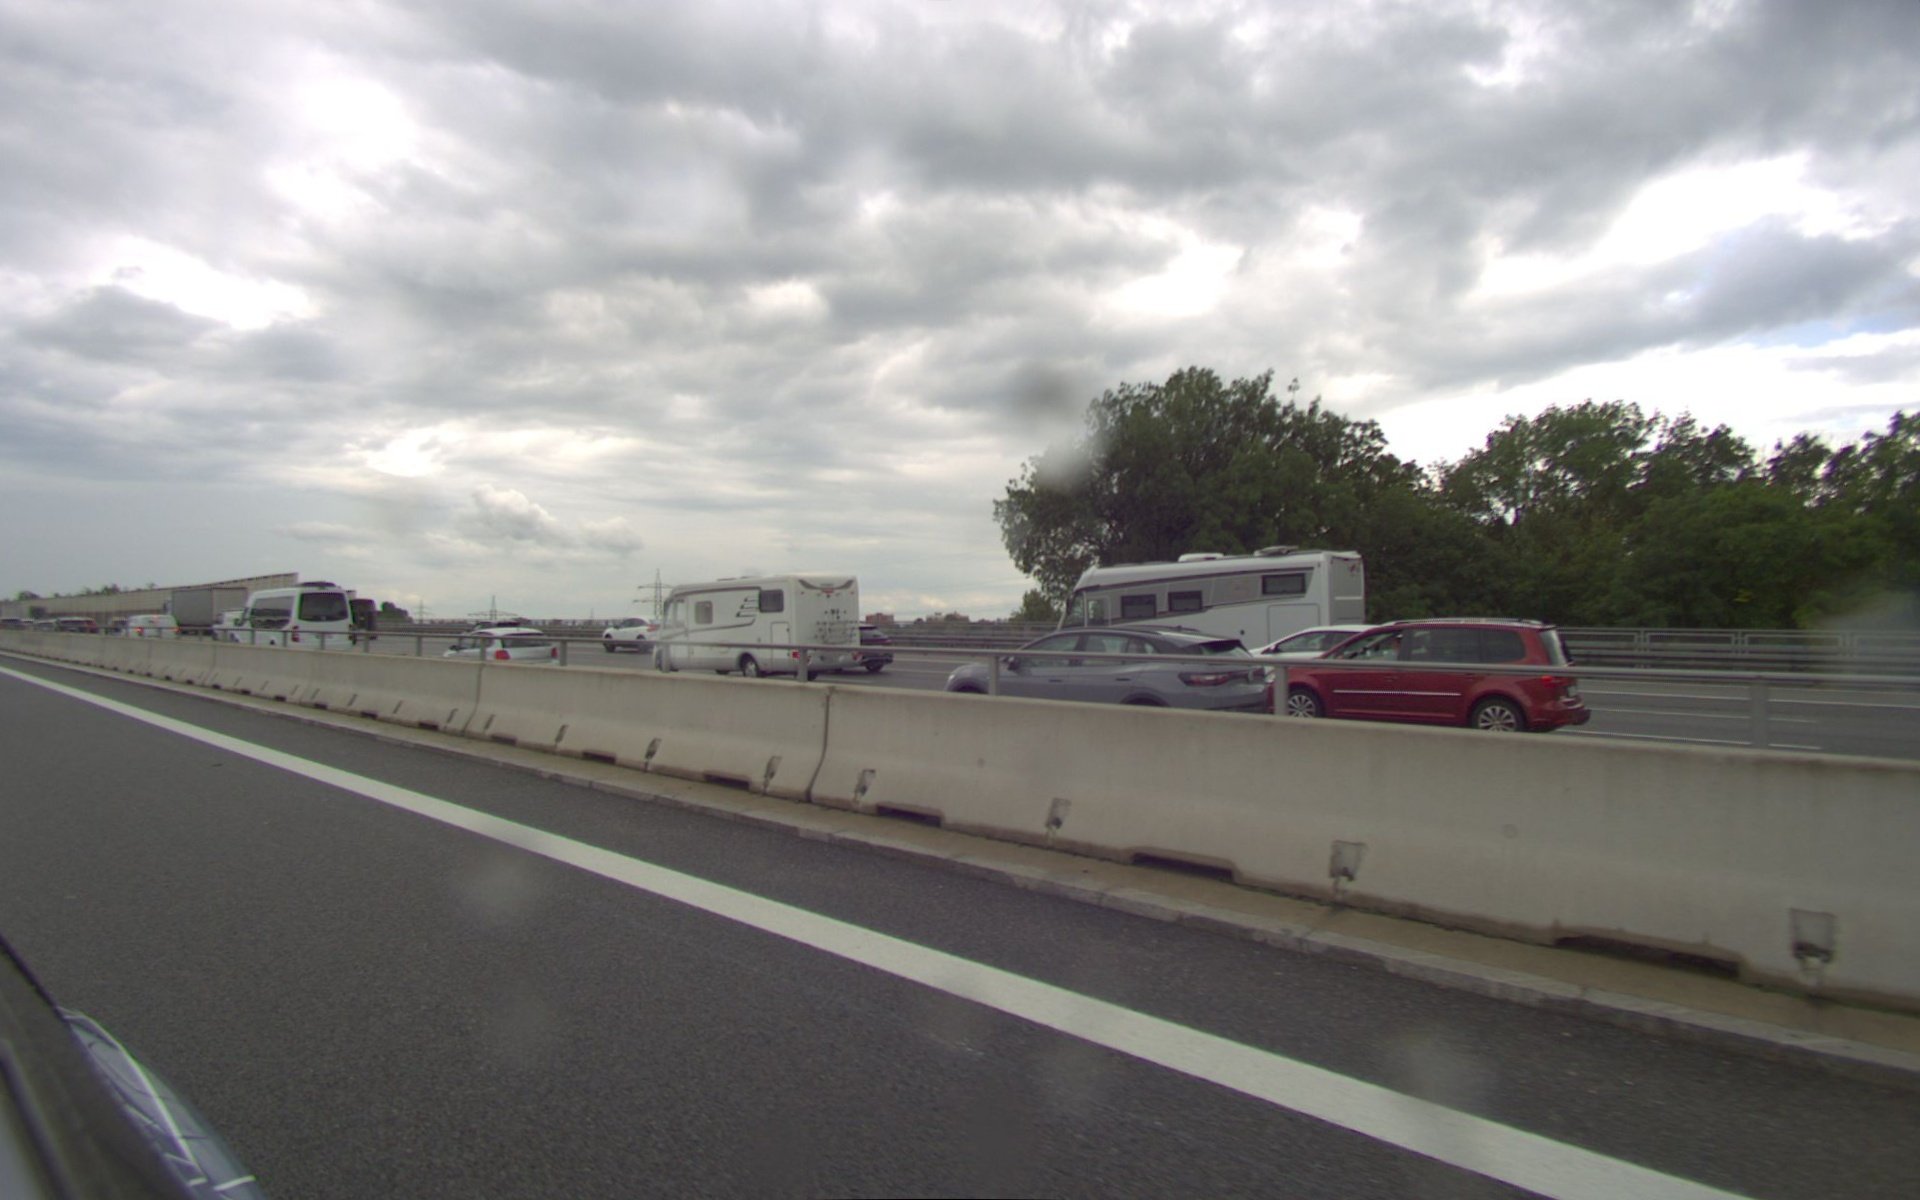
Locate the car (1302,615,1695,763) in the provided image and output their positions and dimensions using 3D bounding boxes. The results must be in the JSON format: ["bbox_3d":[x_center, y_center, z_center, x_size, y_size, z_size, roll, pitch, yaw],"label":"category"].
[{"bbox_3d":[7.285,1.074,14.019,4.519,1.658,1.704,0,1,43],"label":"car"}]

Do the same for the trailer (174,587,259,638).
[{"bbox_3d":[-64.712,1.163,87.893,14.445,4.062,2.901,-2,-1,41],"label":"trailer"}]

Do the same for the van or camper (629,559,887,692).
[{"bbox_3d":[-5.387,0.563,26.018,7.357,2.973,2.597,0,1,42],"label":"van or camper"}]

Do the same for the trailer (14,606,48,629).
[{"bbox_3d":[-175.001,3.337,190.544,13.846,4.062,2.906,-2,-1,40],"label":"trailer"}]

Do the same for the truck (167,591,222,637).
[{"bbox_3d":[-70.259,1.310,92.816,5.723,4.065,2.941,-2,-1,41],"label":"truck"}]

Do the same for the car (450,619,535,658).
[{"bbox_3d":[-19.994,1.603,43.177,4.519,1.475,1.704,0,1,43],"label":"car"}]

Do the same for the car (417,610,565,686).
[{"bbox_3d":[-11.668,1.101,25.024,4.518,1.658,1.704,0,1,42],"label":"car"}]

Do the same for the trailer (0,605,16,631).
[{"bbox_3d":[-159.285,3.056,167.372,14.437,4.062,2.734,-1,-1,39],"label":"trailer"}]

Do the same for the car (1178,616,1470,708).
[{"bbox_3d":[6.836,1.082,19.448,5.019,1.467,1.704,0,1,43],"label":"car"}]

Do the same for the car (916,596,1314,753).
[{"bbox_3d":[1.807,0.812,13.225,5.063,1.658,1.704,0,1,43],"label":"car"}]

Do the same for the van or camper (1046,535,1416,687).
[{"bbox_3d":[6.281,0.224,24.710,8.474,3.146,2.597,0,1,42],"label":"van or camper"}]

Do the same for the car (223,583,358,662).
[{"bbox_3d":[-26.258,0.950,39.457,9.161,2.770,2.207,-3,-2,42],"label":"car"}]

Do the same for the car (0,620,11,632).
[{"bbox_3d":[-122.942,3.343,129.237,4.995,1.502,2.039,-1,-1,41],"label":"car"}]

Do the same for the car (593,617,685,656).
[{"bbox_3d":[-13.481,1.495,42.406,4.519,1.475,1.704,0,1,43],"label":"car"}]

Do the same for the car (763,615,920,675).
[{"bbox_3d":[-3.592,1.261,29.926,5.019,1.559,1.827,0,1,43],"label":"car"}]

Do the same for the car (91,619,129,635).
[{"bbox_3d":[-81.446,2.560,96.945,5.467,1.546,2.039,-1,-1,41],"label":"car"}]

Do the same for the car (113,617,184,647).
[{"bbox_3d":[-43.443,1.669,54.139,5.467,1.546,2.039,-1,-1,41],"label":"car"}]

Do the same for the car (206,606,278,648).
[{"bbox_3d":[-40.645,1.510,57.239,5.892,2.253,2.038,-1,-1,41],"label":"car"}]

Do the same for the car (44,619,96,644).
[{"bbox_3d":[-61.718,2.164,70.157,5.377,1.658,2.039,-1,-1,41],"label":"car"}]

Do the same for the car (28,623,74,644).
[{"bbox_3d":[-71.605,2.606,79.688,5.467,1.546,2.039,-1,-1,41],"label":"car"}]

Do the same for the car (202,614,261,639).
[{"bbox_3d":[-51.031,1.806,70.814,6.118,1.658,2.038,-1,-1,41],"label":"car"}]

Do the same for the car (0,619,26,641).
[{"bbox_3d":[-86.857,2.725,92.149,6.325,1.894,2.038,-1,-1,41],"label":"car"}]

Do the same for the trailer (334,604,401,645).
[{"bbox_3d":[-37.643,1.547,64.267,5.226,2.503,2.177,-1,-1,42],"label":"trailer"}]
